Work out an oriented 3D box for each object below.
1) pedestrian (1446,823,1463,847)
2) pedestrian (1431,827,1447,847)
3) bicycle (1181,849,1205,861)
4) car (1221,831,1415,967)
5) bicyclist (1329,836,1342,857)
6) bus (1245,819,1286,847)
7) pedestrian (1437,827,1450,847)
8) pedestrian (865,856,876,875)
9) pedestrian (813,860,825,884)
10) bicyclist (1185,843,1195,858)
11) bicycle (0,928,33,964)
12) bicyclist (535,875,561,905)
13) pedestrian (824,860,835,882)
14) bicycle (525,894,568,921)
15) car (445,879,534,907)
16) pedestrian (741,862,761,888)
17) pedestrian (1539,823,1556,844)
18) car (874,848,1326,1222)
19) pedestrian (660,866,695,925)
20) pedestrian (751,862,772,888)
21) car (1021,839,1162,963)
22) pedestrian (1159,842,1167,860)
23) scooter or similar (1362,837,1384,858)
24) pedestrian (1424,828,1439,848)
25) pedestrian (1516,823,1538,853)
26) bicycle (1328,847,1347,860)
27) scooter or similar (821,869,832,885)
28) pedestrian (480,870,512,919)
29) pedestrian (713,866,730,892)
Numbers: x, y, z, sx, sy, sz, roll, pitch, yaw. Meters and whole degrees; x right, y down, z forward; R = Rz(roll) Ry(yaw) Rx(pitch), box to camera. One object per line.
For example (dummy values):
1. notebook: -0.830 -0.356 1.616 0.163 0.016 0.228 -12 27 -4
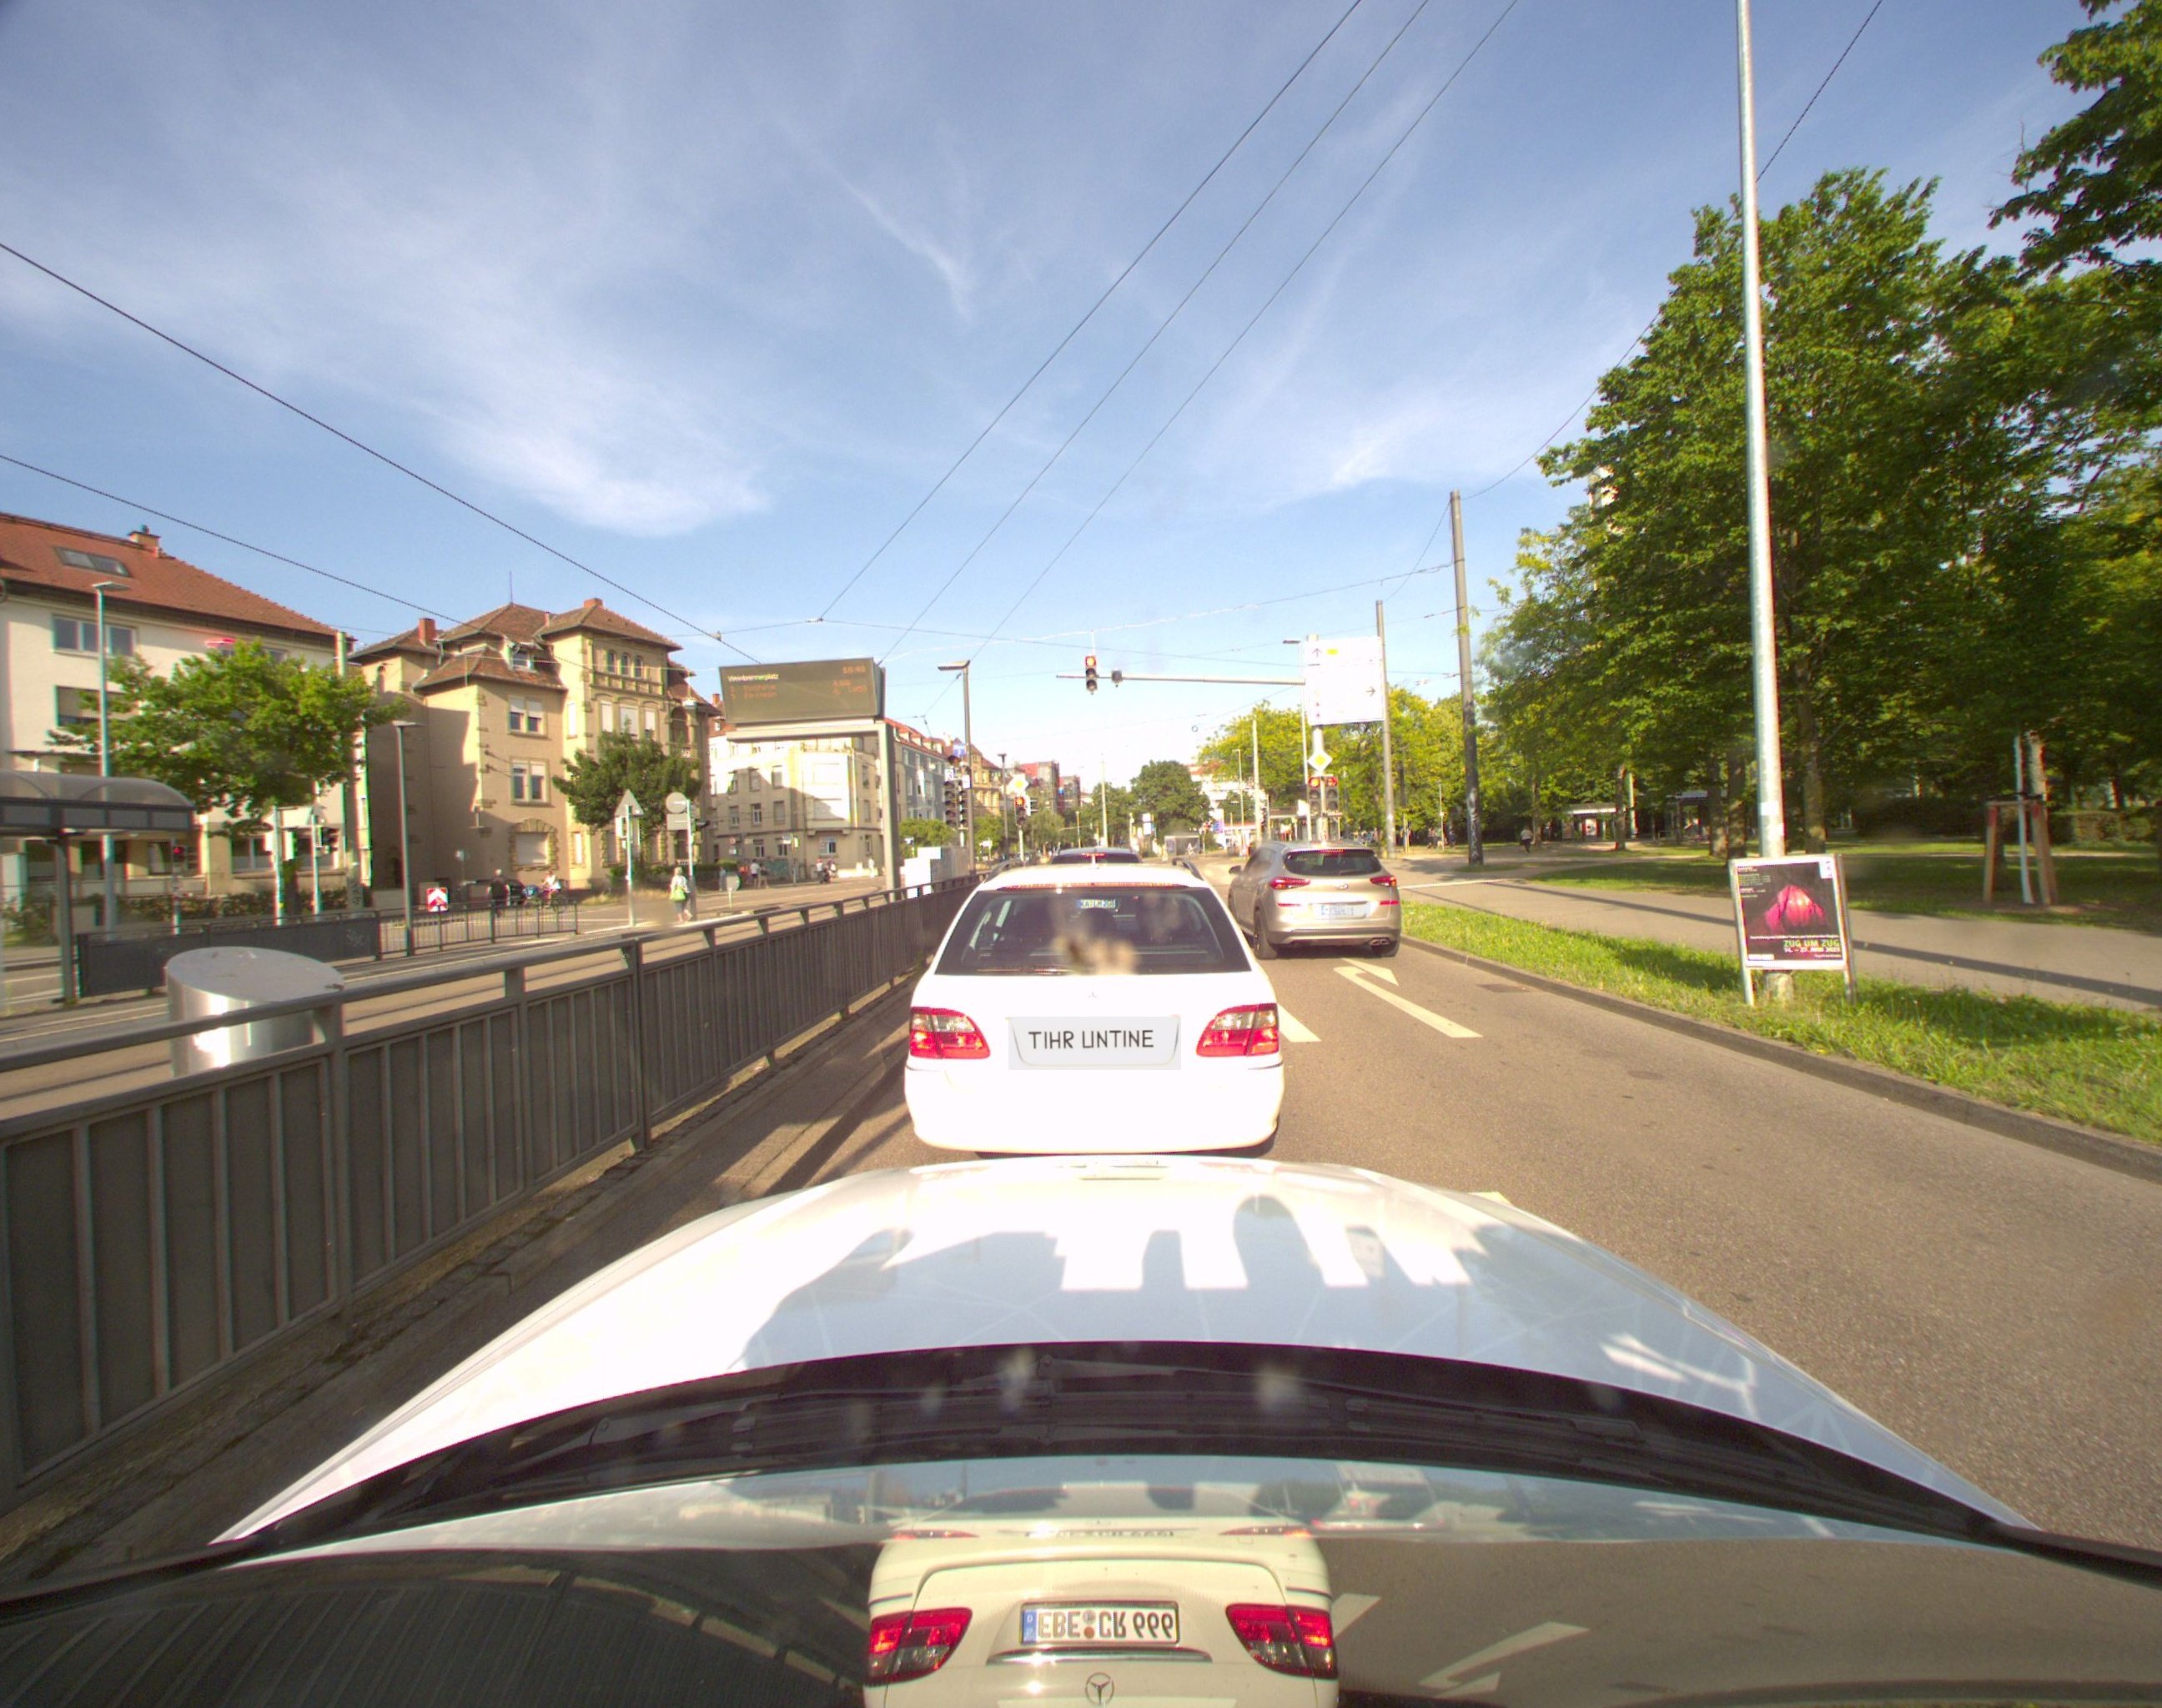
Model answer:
1. pedestrian: 29.117 -1.469 63.513 0.797 1.785 0.838 -3 0 -2
2. pedestrian: 28.102 -1.316 63.892 0.813 1.487 0.698 -3 0 -9
3. bicycle: 11.828 0.094 86.140 2.467 1.213 0.809 -3 0 9
4. car: 3.331 0.568 12.208 1.878 1.651 3.649 -3 0 2
5. bicyclist: 15.615 -0.464 49.963 0.532 1.262 0.869 -3 0 2
6. bus: 26.955 -2.954 118.679 3.080 3.606 12.446 -1 -1 26
7. pedestrian: 27.766 -1.295 62.388 0.805 1.487 0.705 -3 0 26
8. pedestrian: -18.241 1.008 70.636 0.616 1.660 0.588 -3 0 11
9. pedestrian: -18.485 1.259 57.497 0.506 1.626 0.609 -3 0 3
10. bicyclist: 11.524 -0.379 86.168 0.855 1.482 0.792 -3 0 11
11. bicycle: -29.934 2.546 21.318 0.779 0.914 3.006 -3 0 10
12. bicyclist: -19.510 1.320 29.817 0.512 1.044 0.678 -3 0 -6
13. pedestrian: -17.794 1.180 57.551 0.434 1.500 0.551 -3 0 16
14. bicycle: -19.474 1.941 29.702 0.525 0.834 1.683 -3 0 -5
15. car: -29.456 1.909 40.574 4.066 1.310 1.774 -1 -1 24
16. pedestrian: -20.721 1.298 51.140 0.822 1.552 0.786 -3 0 23
17. pedestrian: 36.668 -1.596 64.012 0.831 1.636 0.804 -3 0 8
18. car: 0.122 0.725 5.104 1.789 1.470 3.649 -1 0 1
19. pedestrian: -11.194 1.142 22.626 0.611 1.599 0.632 -3 0 -5
20. pedestrian: -19.912 1.285 50.758 0.822 1.552 0.786 -3 0 23
21. car: 0.207 0.624 12.714 1.878 1.651 3.649 0 0 2
22. pedestrian: 8.567 -0.290 85.091 0.638 1.857 0.554 -3 0 13
23. scooter or similar: 16.218 -0.367 45.238 0.421 1.117 1.322 -3 0 -18
24. pedestrian: 27.254 -1.233 63.304 0.820 1.487 0.692 -3 0 -40
25. pedestrian: 25.308 -0.899 46.175 0.758 1.636 0.800 -3 0 -38
26. bicycle: 15.696 -0.016 49.888 0.493 0.757 2.169 -4 0 2
27. scooter or similar: -18.261 1.644 58.391 0.541 1.079 0.683 -1 -1 1
28. pedestrian: -20.880 1.434 29.061 0.798 1.645 0.748 -3 0 -42
29. pedestrian: -21.999 1.510 49.829 0.626 1.541 0.711 -3 0 1
